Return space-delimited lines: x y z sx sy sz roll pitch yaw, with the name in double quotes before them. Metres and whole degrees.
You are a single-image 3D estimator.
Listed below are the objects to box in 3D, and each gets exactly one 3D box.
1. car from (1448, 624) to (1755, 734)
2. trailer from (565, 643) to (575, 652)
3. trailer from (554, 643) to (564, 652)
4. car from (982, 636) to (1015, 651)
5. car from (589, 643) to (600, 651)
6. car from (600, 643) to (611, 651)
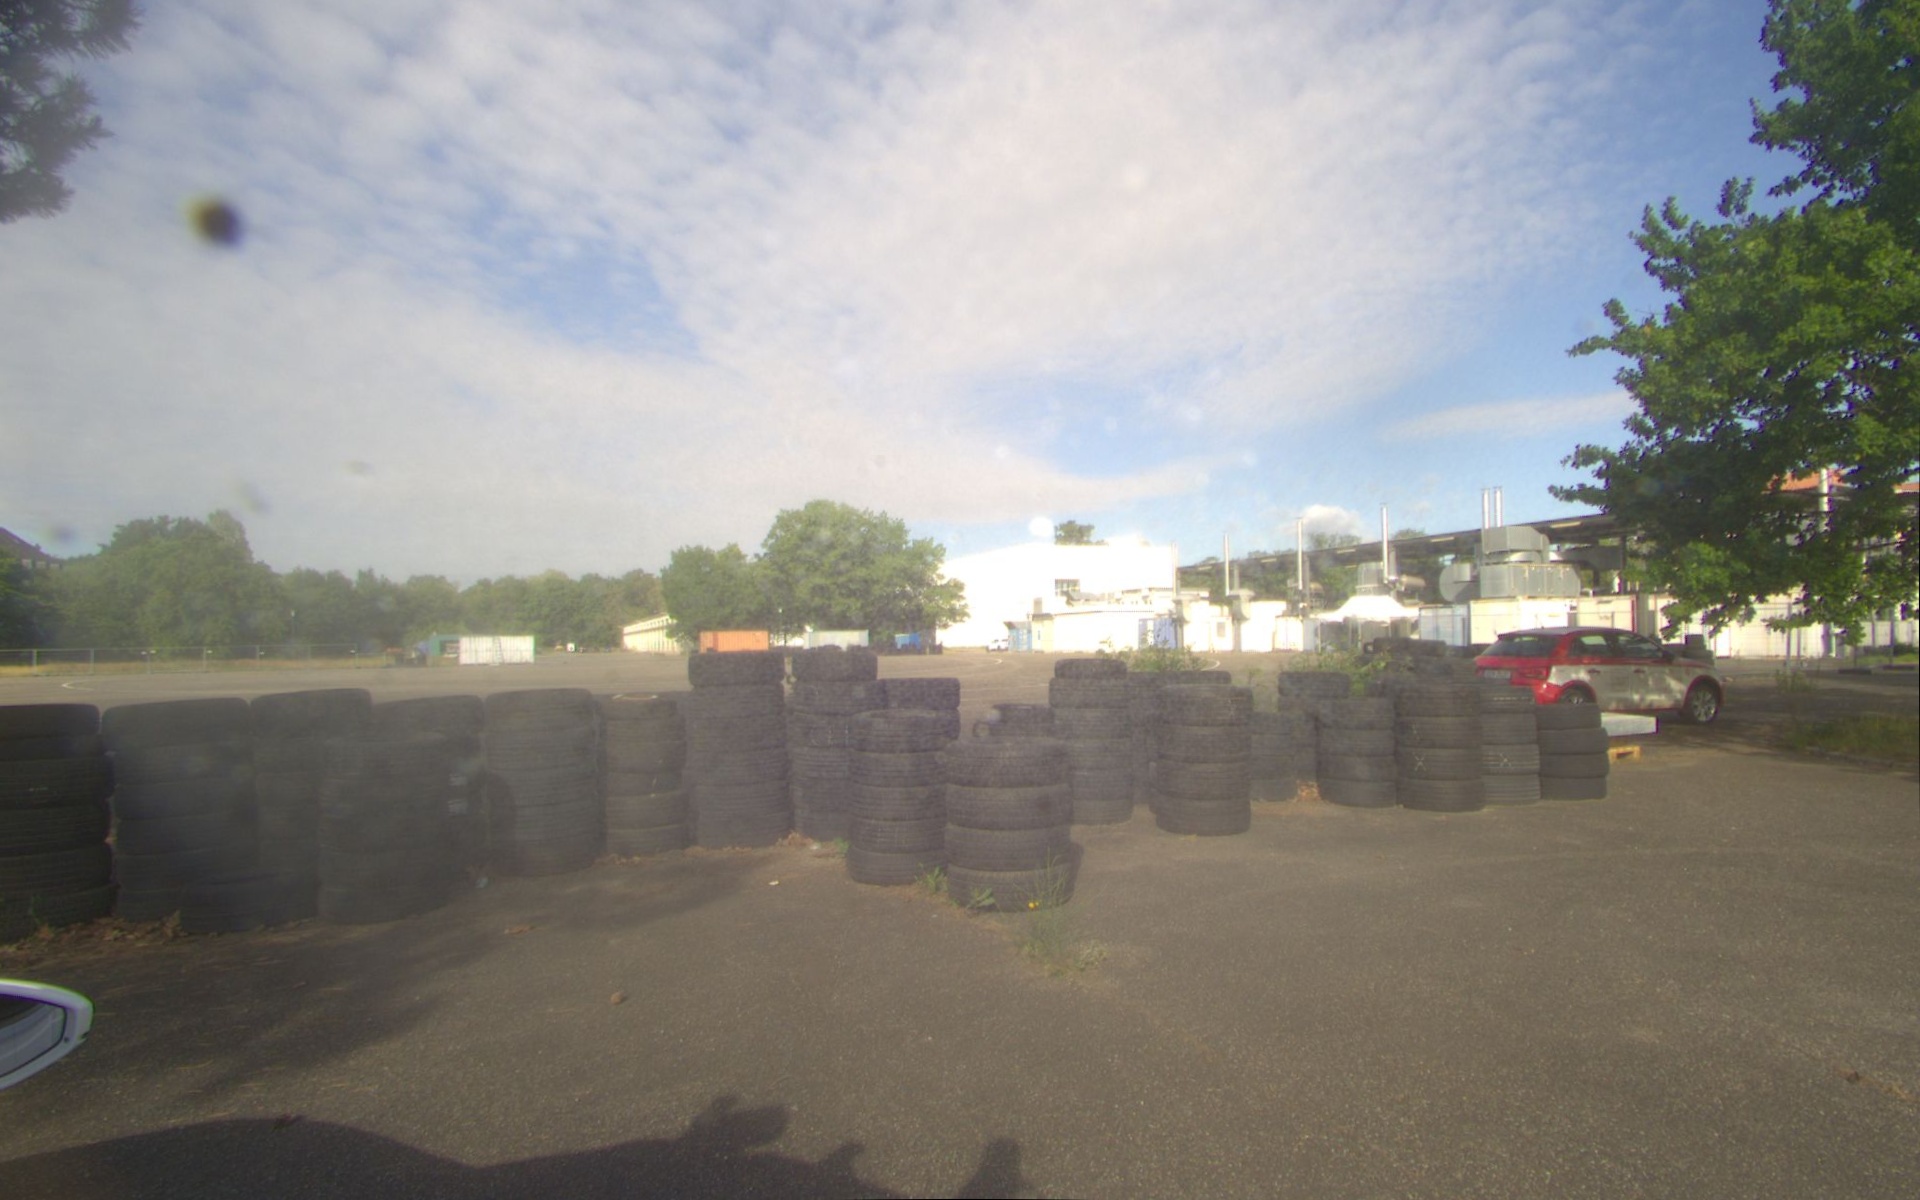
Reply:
"car" 9.601 1.126 15.057 3.929 1.482 1.726 0 -2 -16
"trailer" -89.460 10.828 229.856 2.032 2.039 3.988 0 -2 -24
"trailer" -92.208 10.829 230.119 1.968 2.039 3.988 0 -2 -24
"car" 4.243 4.795 110.518 1.845 1.584 4.533 0 -2 -25
"car" -84.246 10.887 230.535 2.006 1.831 3.986 0 -2 -25
"car" -81.949 10.796 231.536 1.969 1.772 3.986 0 -2 -25
